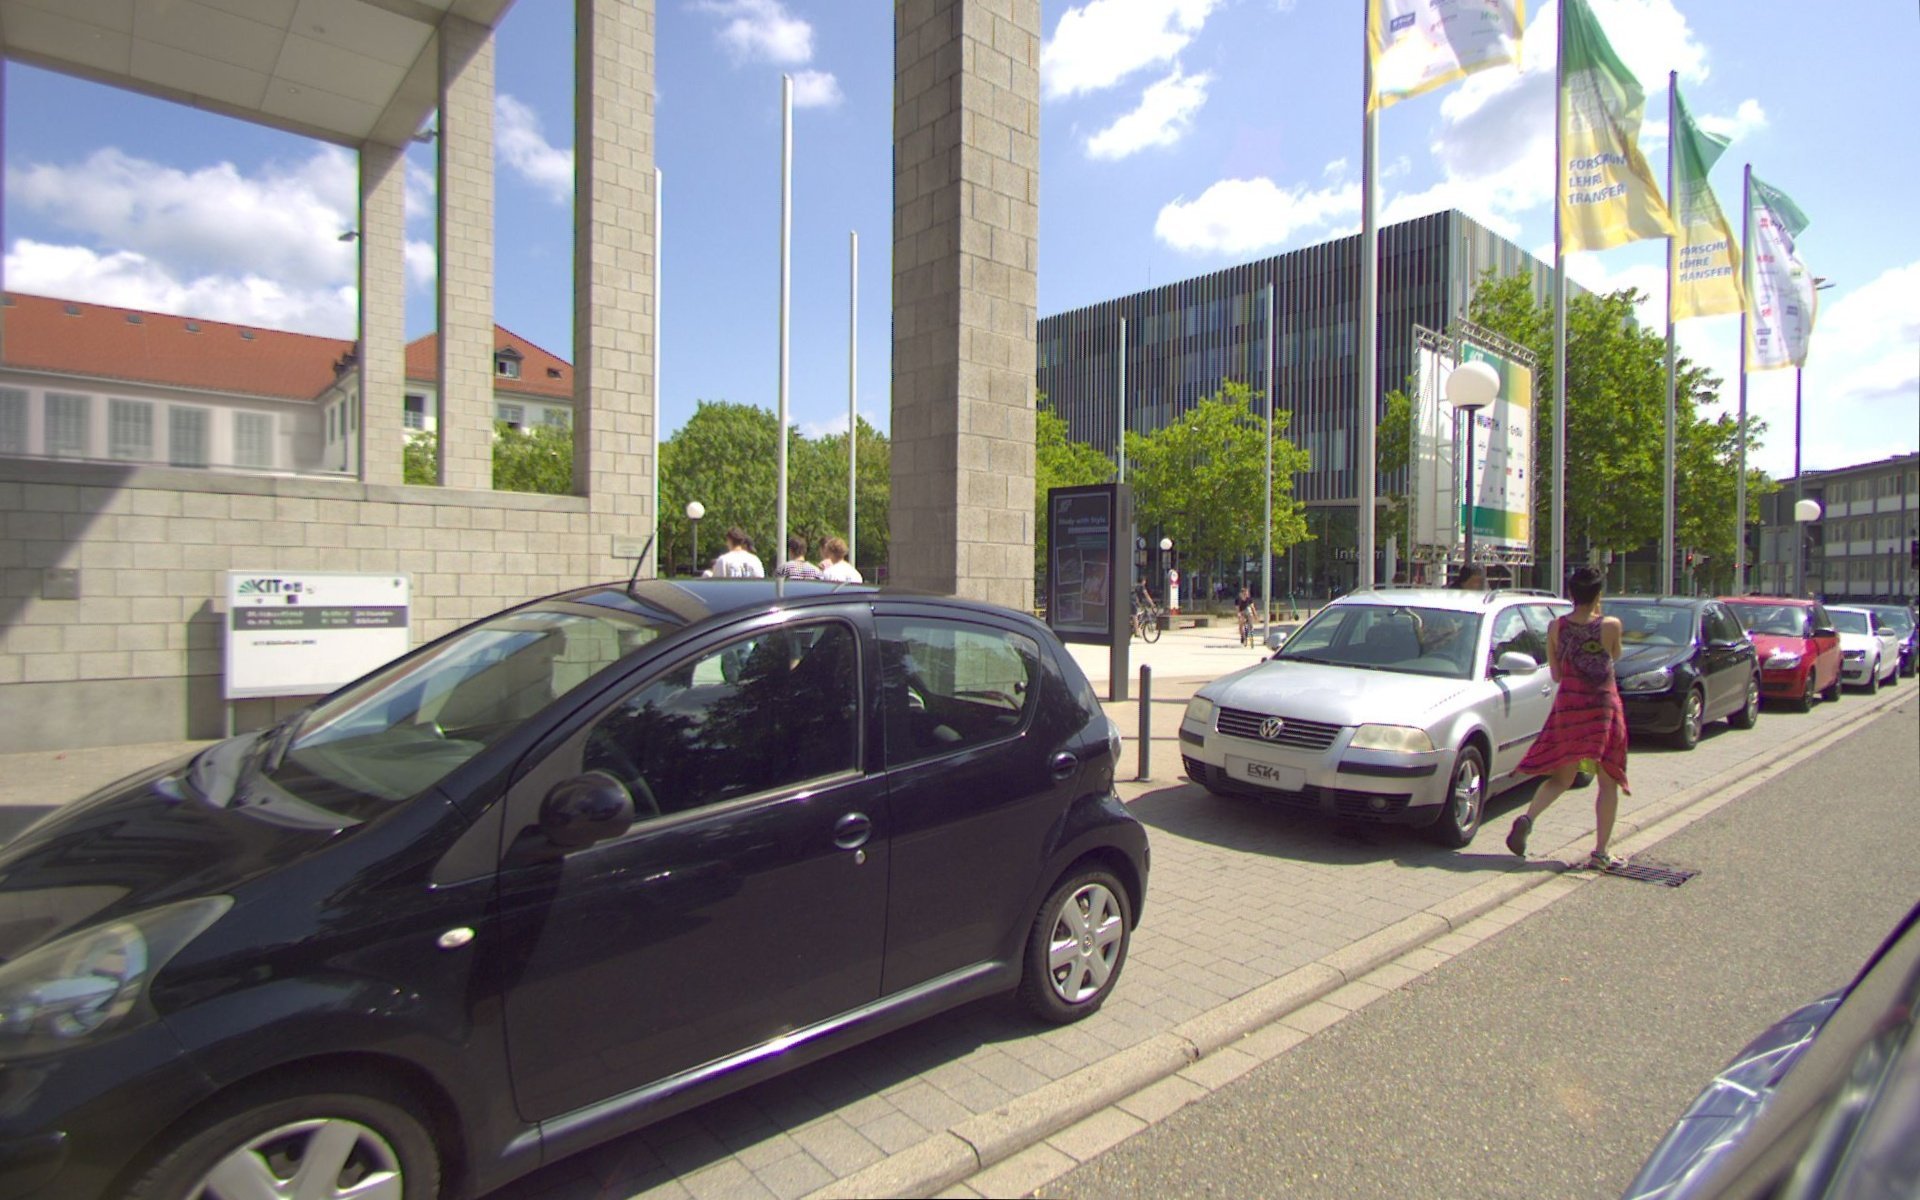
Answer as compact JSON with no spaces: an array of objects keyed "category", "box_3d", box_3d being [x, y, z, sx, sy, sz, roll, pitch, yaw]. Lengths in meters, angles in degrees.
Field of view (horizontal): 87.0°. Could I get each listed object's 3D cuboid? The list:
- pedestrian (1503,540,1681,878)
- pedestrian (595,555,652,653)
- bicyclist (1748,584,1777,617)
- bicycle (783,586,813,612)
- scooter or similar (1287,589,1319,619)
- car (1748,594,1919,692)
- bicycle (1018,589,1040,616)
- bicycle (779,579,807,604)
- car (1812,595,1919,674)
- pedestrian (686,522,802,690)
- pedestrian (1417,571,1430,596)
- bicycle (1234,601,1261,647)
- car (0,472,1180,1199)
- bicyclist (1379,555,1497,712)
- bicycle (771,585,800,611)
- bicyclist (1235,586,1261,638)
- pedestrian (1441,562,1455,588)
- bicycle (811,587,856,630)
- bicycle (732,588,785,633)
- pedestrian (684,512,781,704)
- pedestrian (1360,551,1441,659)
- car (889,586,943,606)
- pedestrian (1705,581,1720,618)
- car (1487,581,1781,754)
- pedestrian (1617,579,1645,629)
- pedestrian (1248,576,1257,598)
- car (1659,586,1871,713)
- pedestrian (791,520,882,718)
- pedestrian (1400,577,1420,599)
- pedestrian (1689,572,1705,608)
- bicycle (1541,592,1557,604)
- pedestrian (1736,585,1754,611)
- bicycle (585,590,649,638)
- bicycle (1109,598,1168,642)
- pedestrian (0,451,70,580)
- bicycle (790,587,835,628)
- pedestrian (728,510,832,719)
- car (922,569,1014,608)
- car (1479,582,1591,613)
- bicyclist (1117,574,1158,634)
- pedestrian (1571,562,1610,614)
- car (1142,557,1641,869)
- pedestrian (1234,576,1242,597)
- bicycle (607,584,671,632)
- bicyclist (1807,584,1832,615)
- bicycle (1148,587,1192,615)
[{"category":"pedestrian","box_3d":[3.626,0.550,5.788,1.023,1.738,0.623,0,1,-44]},{"category":"pedestrian","box_3d":[-5.840,0.055,17.582,0.680,1.660,0.736,1,1,11]},{"category":"bicyclist","box_3d":[40.490,0.001,51.084,0.987,1.636,0.653,0,1,21]},{"category":"bicycle","box_3d":[-7.294,-0.054,45.554,0.596,1.112,1.758,0,2,18]},{"category":"scooter or similar","box_3d":[13.914,0.142,41.065,0.347,1.180,1.191,-2,3,-40]},{"category":"car","box_3d":[15.448,0.652,17.769,4.362,1.417,1.722,-1,4,-41]},{"category":"bicycle","box_3d":[3.083,0.091,45.092,0.596,1.112,1.758,0,2,18]},{"category":"bicycle","box_3d":[-8.068,-0.412,48.909,0.596,1.112,1.758,0,2,17]},{"category":"car","box_3d":[19.768,0.652,21.566,4.863,1.417,1.722,0,3,-41]},{"category":"pedestrian","box_3d":[-2.677,0.057,12.512,1.003,1.944,1.097,0,1,-40]},{"category":"pedestrian","box_3d":[34.065,-1.225,74.361,0.782,1.865,0.512,0,0,30]},{"category":"bicycle","box_3d":[7.604,0.619,26.802,0.599,1.152,1.581,1,0,14]},{"category":"car","box_3d":[-1.187,0.542,2.924,3.939,1.515,1.616,0,1,-43]},{"category":"bicyclist","box_3d":[5.081,0.329,10.775,0.651,1.583,0.932,0,1,-41]},{"category":"bicycle","box_3d":[-8.113,-0.107,47.027,0.585,1.112,1.758,0,2,17]},{"category":"bicyclist","box_3d":[7.620,0.317,26.815,0.599,1.337,0.739,1,0,14]},{"category":"pedestrian","box_3d":[34.854,-1.782,72.273,0.678,1.864,0.678,-1,2,-33]},{"category":"bicycle","box_3d":[-3.575,0.223,28.722,0.596,1.112,1.758,0,2,17]},{"category":"bicycle","box_3d":[-5.352,0.259,26.974,0.596,1.112,1.758,0,2,17]},{"category":"pedestrian","box_3d":[-2.428,0.073,10.791,0.724,1.950,0.739,1,1,45]},{"category":"pedestrian","box_3d":[7.454,0.066,17.115,0.984,1.762,0.919,0,1,-41]},{"category":"car","box_3d":[-3.343,-0.292,75.459,1.710,1.469,4.943,2,-1,-34]},{"category":"pedestrian","box_3d":[38.760,-0.043,52.136,0.573,1.864,0.409,1,2,44]},{"category":"car","box_3d":[7.511,0.588,11.138,3.930,1.548,1.722,0,2,-41]},{"category":"pedestrian","box_3d":[24.669,0.141,37.210,0.598,1.823,0.597,2,-1,-10]},{"category":"pedestrian","box_3d":[25.139,-1.138,87.092,0.552,1.864,0.554,1,2,42]},{"category":"car","box_3d":[11.729,0.612,14.647,4.074,1.515,1.618,0,3,-41]},{"category":"pedestrian","box_3d":[-1.278,0.181,10.437,0.583,1.950,0.784,0,1,-42]},{"category":"pedestrian","box_3d":[35.229,-0.946,79.240,1.162,1.671,1.014,0,1,-41]},{"category":"pedestrian","box_3d":[38.489,-0.536,52.865,0.629,1.864,0.474,1,2,35]},{"category":"bicycle","box_3d":[41.190,-0.149,70.775,0.522,0.773,1.764,0,2,16]},{"category":"pedestrian","box_3d":[55.383,-0.152,71.391,0.833,1.812,0.673,0,0,19]},{"category":"bicycle","box_3d":[-8.656,0.325,25.590,0.596,1.112,1.758,0,2,17]},{"category":"bicycle","box_3d":[4.850,0.531,27.474,1.663,1.152,0.681,1,0,-42]},{"category":"pedestrian","box_3d":[-13.529,-1.210,14.784,0.704,1.820,0.719,-2,2,-39]},{"category":"bicycle","box_3d":[-4.292,0.207,29.545,0.596,1.112,1.758,0,2,17]},{"category":"pedestrian","box_3d":[-1.778,0.127,9.975,0.721,1.950,0.784,0,1,-39]},{"category":"car","box_3d":[0.346,-0.650,51.853,1.872,1.887,4.930,-1,2,-43]},{"category":"car","box_3d":[30.082,-0.153,53.032,1.965,1.548,4.708,0,1,-41]},{"category":"bicyclist","box_3d":[4.820,0.105,27.443,0.864,1.589,0.681,2,0,-41]},{"category":"pedestrian","box_3d":[23.829,-0.439,38.239,1.155,1.842,0.855,5,0,-42]},{"category":"car","box_3d":[3.348,0.533,7.307,4.492,1.548,1.721,0,3,-45]},{"category":"pedestrian","box_3d":[24.328,-1.190,88.523,0.552,1.864,0.554,1,2,42]},{"category":"bicycle","box_3d":[-8.002,0.187,25.296,0.596,1.112,1.758,0,2,17]},{"category":"bicyclist","box_3d":[42.736,-0.025,50.297,0.777,1.557,0.652,0,1,25]},{"category":"bicycle","box_3d":[9.355,0.035,45.200,0.784,1.198,2.034,-1,2,-30]}]
